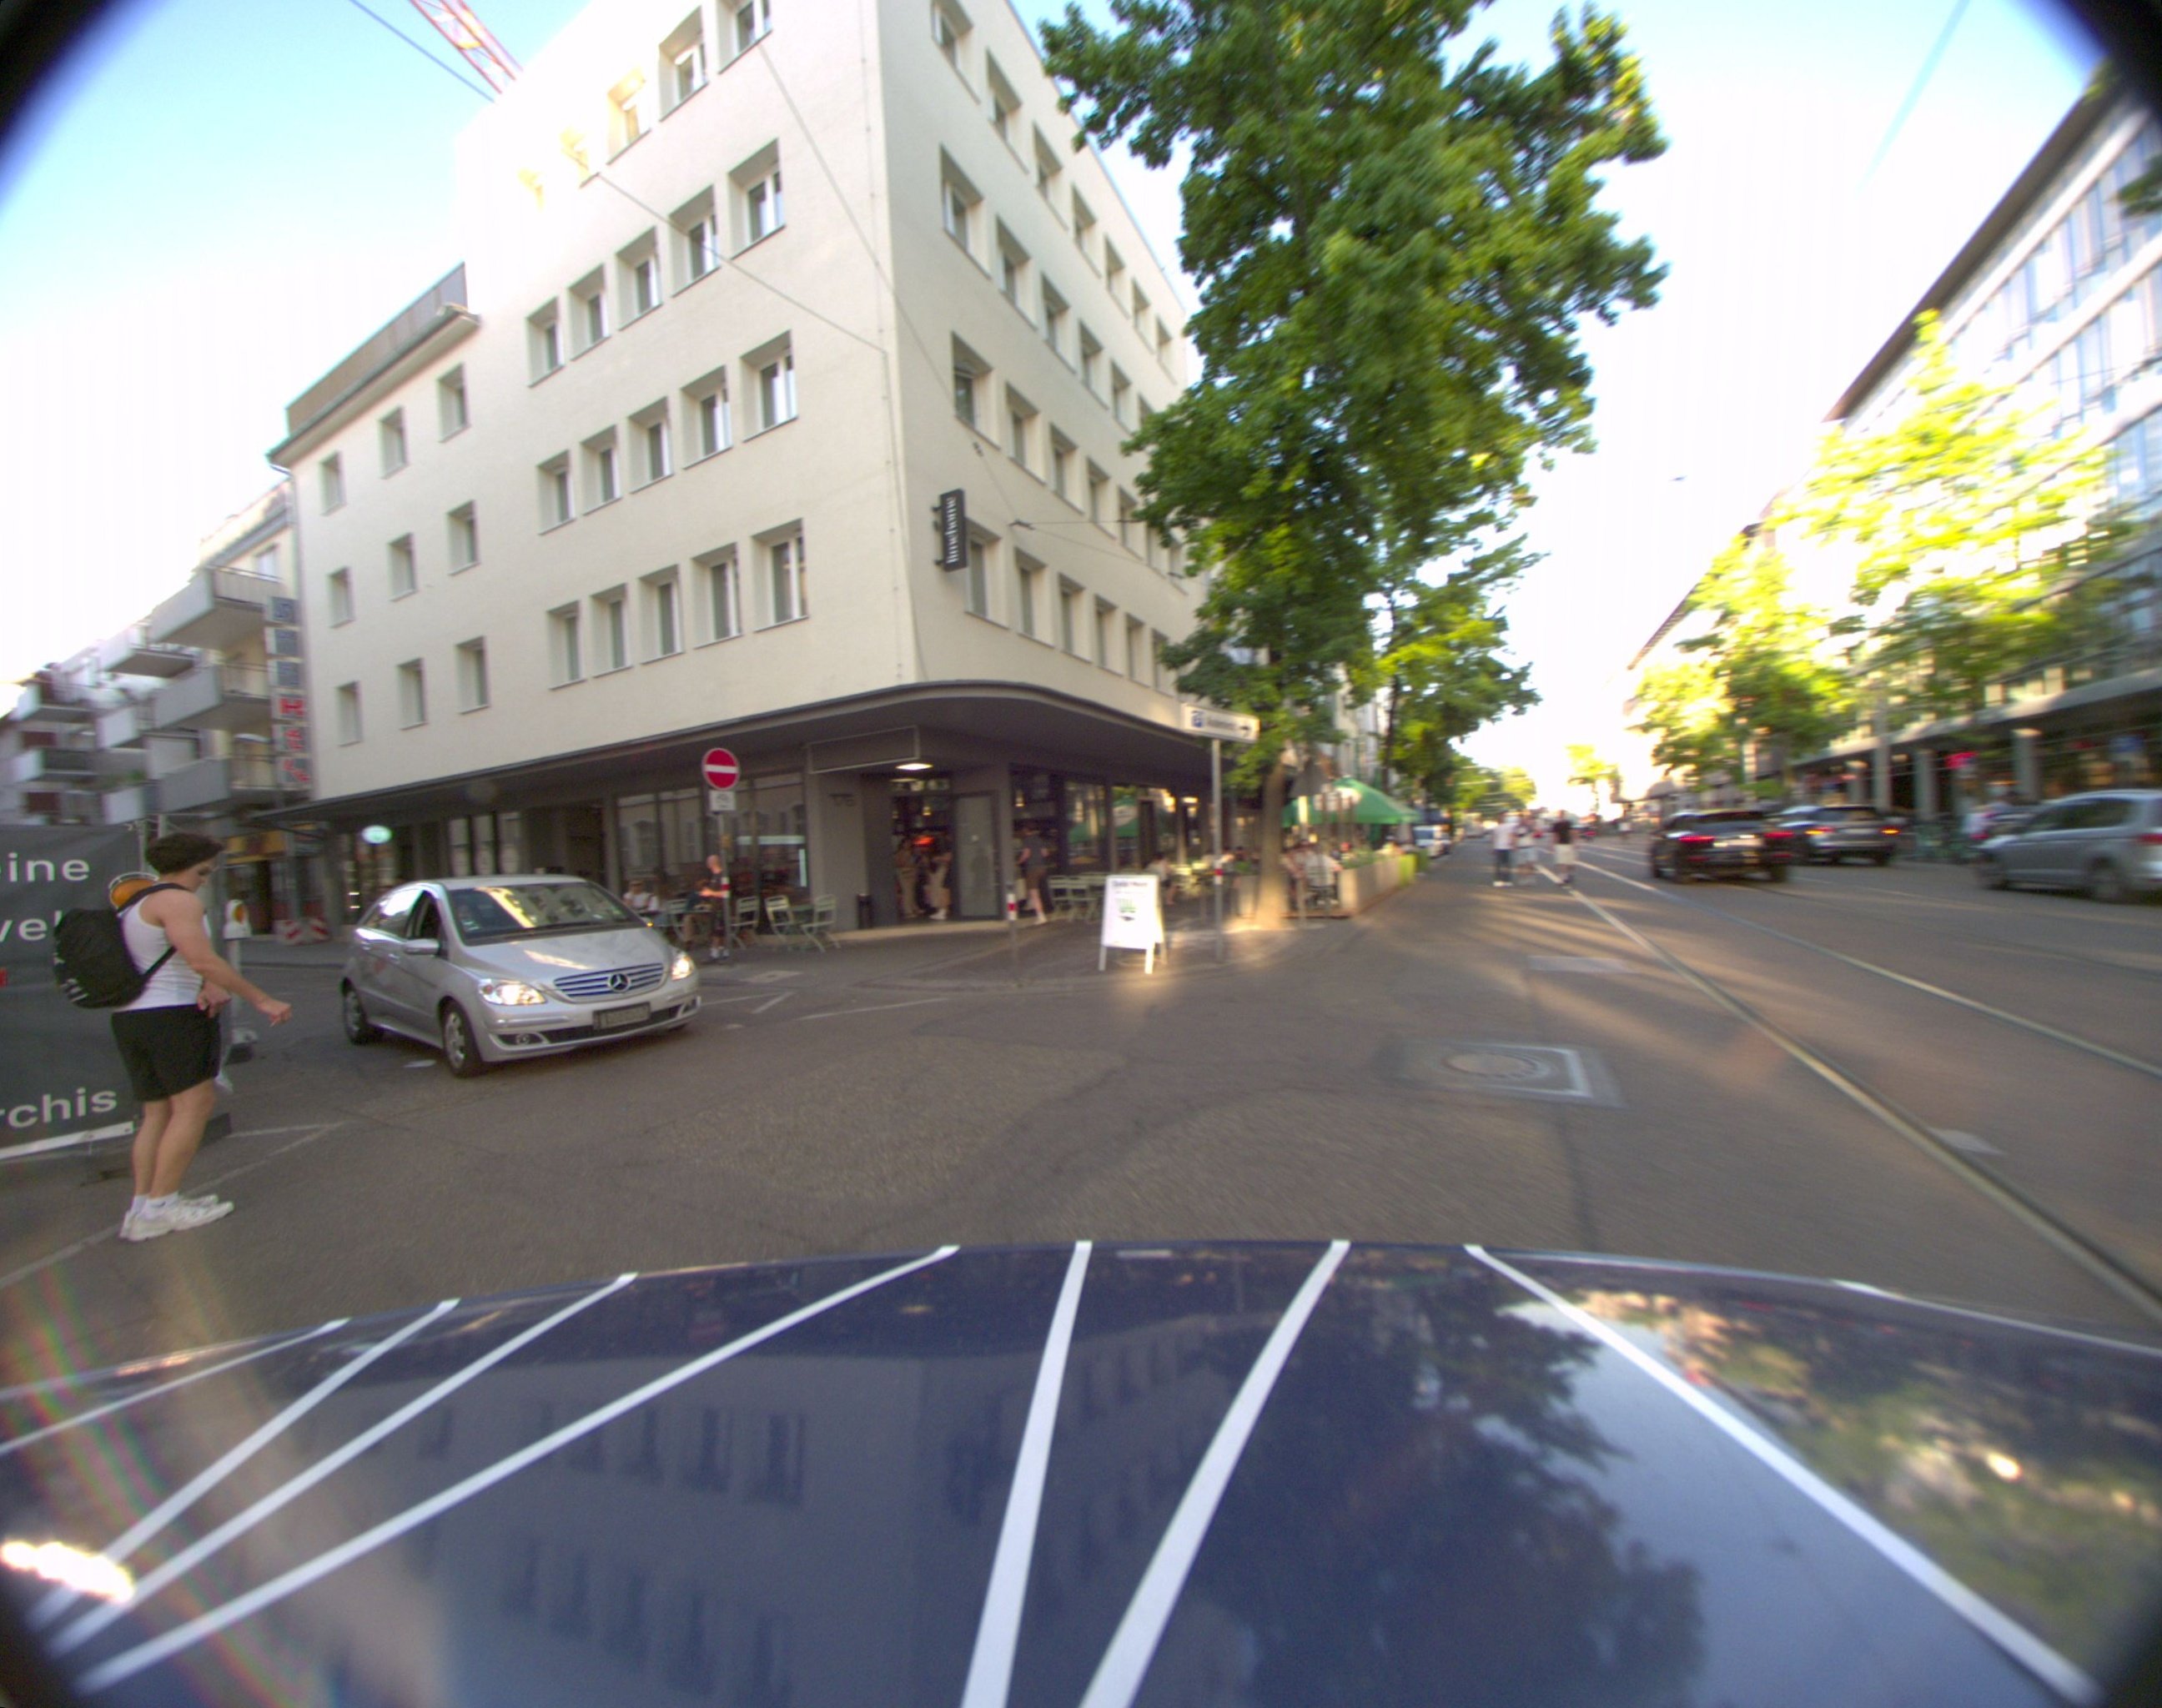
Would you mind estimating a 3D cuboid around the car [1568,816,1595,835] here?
[{"bbox_3d":[54.872,-3.121,83.334,1.995,1.871,4.006,-3,1,27],"label":"car"}]

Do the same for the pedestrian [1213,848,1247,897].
[{"bbox_3d":[4.184,0.513,21.391,0.715,1.322,0.625,-2,1,30],"label":"pedestrian"}]

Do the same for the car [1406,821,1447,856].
[{"bbox_3d":[19.881,-0.920,43.637,1.999,1.832,4.974,0,3,25],"label":"car"}]

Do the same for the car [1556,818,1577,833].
[{"bbox_3d":[66.026,-3.901,103.469,1.995,1.871,4.006,-3,1,27],"label":"car"}]

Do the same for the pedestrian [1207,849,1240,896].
[{"bbox_3d":[4.196,0.551,22.392,0.715,1.322,0.625,-2,1,30],"label":"pedestrian"}]

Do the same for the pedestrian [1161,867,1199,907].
[{"bbox_3d":[2.472,0.824,18.949,0.715,0.927,0.625,-2,1,30],"label":"pedestrian"}]

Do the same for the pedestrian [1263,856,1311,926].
[{"bbox_3d":[4.065,0.721,14.960,0.715,1.322,0.625,-2,1,30],"label":"pedestrian"}]

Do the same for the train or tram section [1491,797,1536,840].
[{"bbox_3d":[45.204,-3.650,79.793,3.601,3.975,15.741,-2,1,29],"label":"train or tram section"}]

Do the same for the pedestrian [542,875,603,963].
[{"bbox_3d":[-9.843,1.241,14.707,0.715,1.627,0.625,-2,1,27],"label":"pedestrian"}]

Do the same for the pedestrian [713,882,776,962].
[{"bbox_3d":[-5.964,1.195,13.468,0.622,1.322,0.718,-2,1,30],"label":"pedestrian"}]

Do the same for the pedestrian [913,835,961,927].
[{"bbox_3d":[-3.055,0.564,16.171,0.723,1.898,0.571,-3,1,16],"label":"pedestrian"}]

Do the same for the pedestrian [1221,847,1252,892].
[{"bbox_3d":[4.741,0.456,23.177,0.715,1.322,0.625,-2,1,30],"label":"pedestrian"}]

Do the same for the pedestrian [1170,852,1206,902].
[{"bbox_3d":[2.907,0.619,20.632,0.715,1.322,0.625,-2,1,30],"label":"pedestrian"}]

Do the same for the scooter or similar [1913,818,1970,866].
[{"bbox_3d":[23.665,-0.339,20.913,0.542,1.241,1.686,-2,1,31],"label":"scooter or similar"}]

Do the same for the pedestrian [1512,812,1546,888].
[{"bbox_3d":[11.646,-0.104,19.757,0.671,1.922,0.874,-2,1,30],"label":"pedestrian"}]

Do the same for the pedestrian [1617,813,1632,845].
[{"bbox_3d":[37.639,-1.696,52.617,0.627,2.171,0.765,-2,1,26],"label":"pedestrian"}]

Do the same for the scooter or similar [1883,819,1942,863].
[{"bbox_3d":[24.596,-0.404,22.515,0.579,1.241,2.129,-2,1,31],"label":"scooter or similar"}]

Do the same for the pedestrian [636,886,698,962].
[{"bbox_3d":[-7.696,1.278,14.124,0.622,1.322,0.718,-2,1,30],"label":"pedestrian"}]

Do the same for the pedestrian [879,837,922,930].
[{"bbox_3d":[-3.788,0.604,16.007,0.570,1.898,0.724,-3,1,7],"label":"pedestrian"}]

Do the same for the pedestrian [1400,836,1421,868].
[{"bbox_3d":[13.866,-0.094,31.981,0.715,1.322,0.625,-2,1,30],"label":"pedestrian"}]

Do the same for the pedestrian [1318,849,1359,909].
[{"bbox_3d":[5.902,0.563,17.397,0.715,1.322,0.625,-2,1,30],"label":"pedestrian"}]

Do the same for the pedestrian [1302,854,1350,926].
[{"bbox_3d":[4.719,0.690,14.609,0.715,1.322,0.625,-2,1,30],"label":"pedestrian"}]

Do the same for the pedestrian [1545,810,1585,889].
[{"bbox_3d":[12.193,-0.127,19.158,0.771,1.922,0.874,-2,1,30],"label":"pedestrian"}]

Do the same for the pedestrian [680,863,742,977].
[{"bbox_3d":[-5.588,0.965,11.512,0.624,1.627,0.716,-3,1,-16],"label":"pedestrian"}]

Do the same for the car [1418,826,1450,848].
[{"bbox_3d":[22.910,-1.100,49.257,1.712,1.318,3.599,-3,1,26],"label":"car"}]

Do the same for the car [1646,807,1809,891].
[{"bbox_3d":[14.975,-0.153,17.890,2.035,1.677,4.207,-3,1,28],"label":"car"}]

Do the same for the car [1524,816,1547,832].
[{"bbox_3d":[57.482,-3.782,96.196,2.214,1.849,4.006,-3,1,27],"label":"car"}]

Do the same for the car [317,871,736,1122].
[{"bbox_3d":[-5.321,1.098,7.176,3.932,1.600,1.870,-3,3,34],"label":"car"}]

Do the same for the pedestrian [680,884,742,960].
[{"bbox_3d":[-6.784,1.232,13.956,0.622,1.322,0.718,-2,1,30],"label":"pedestrian"}]

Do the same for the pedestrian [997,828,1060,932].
[{"bbox_3d":[-0.990,0.475,14.420,0.726,1.898,0.803,-2,1,41],"label":"pedestrian"}]

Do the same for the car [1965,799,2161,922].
[{"bbox_3d":[15.775,0.004,11.402,1.885,1.603,4.207,-1,2,28],"label":"car"}]

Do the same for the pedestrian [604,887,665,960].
[{"bbox_3d":[-8.565,1.318,14.585,0.622,1.322,0.718,-2,1,30],"label":"pedestrian"}]

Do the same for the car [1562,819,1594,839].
[{"bbox_3d":[41.462,-2.080,63.405,1.712,1.587,4.006,-3,1,26],"label":"car"}]

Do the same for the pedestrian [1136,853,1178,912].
[{"bbox_3d":[1.786,0.673,17.849,0.715,1.322,0.625,-2,1,30],"label":"pedestrian"}]

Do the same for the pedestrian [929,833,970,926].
[{"bbox_3d":[-2.571,0.484,14.856,0.624,1.756,0.716,-3,1,-16],"label":"pedestrian"}]

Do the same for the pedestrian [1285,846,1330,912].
[{"bbox_3d":[4.722,0.521,15.815,0.715,1.322,0.625,-2,1,30],"label":"pedestrian"}]

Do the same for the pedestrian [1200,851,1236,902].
[{"bbox_3d":[3.659,0.600,20.215,0.715,1.322,0.625,-2,1,30],"label":"pedestrian"}]

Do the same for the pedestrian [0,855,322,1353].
[{"bbox_3d":[-4.305,0.965,3.349,0.943,1.805,1.072,-3,3,36],"label":"pedestrian"}]

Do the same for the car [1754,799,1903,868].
[{"bbox_3d":[21.912,-0.614,22.500,2.035,1.796,4.207,-1,1,28],"label":"car"}]

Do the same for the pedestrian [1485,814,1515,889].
[{"bbox_3d":[10.987,-0.072,19.906,0.597,1.922,0.874,-2,1,31],"label":"pedestrian"}]
